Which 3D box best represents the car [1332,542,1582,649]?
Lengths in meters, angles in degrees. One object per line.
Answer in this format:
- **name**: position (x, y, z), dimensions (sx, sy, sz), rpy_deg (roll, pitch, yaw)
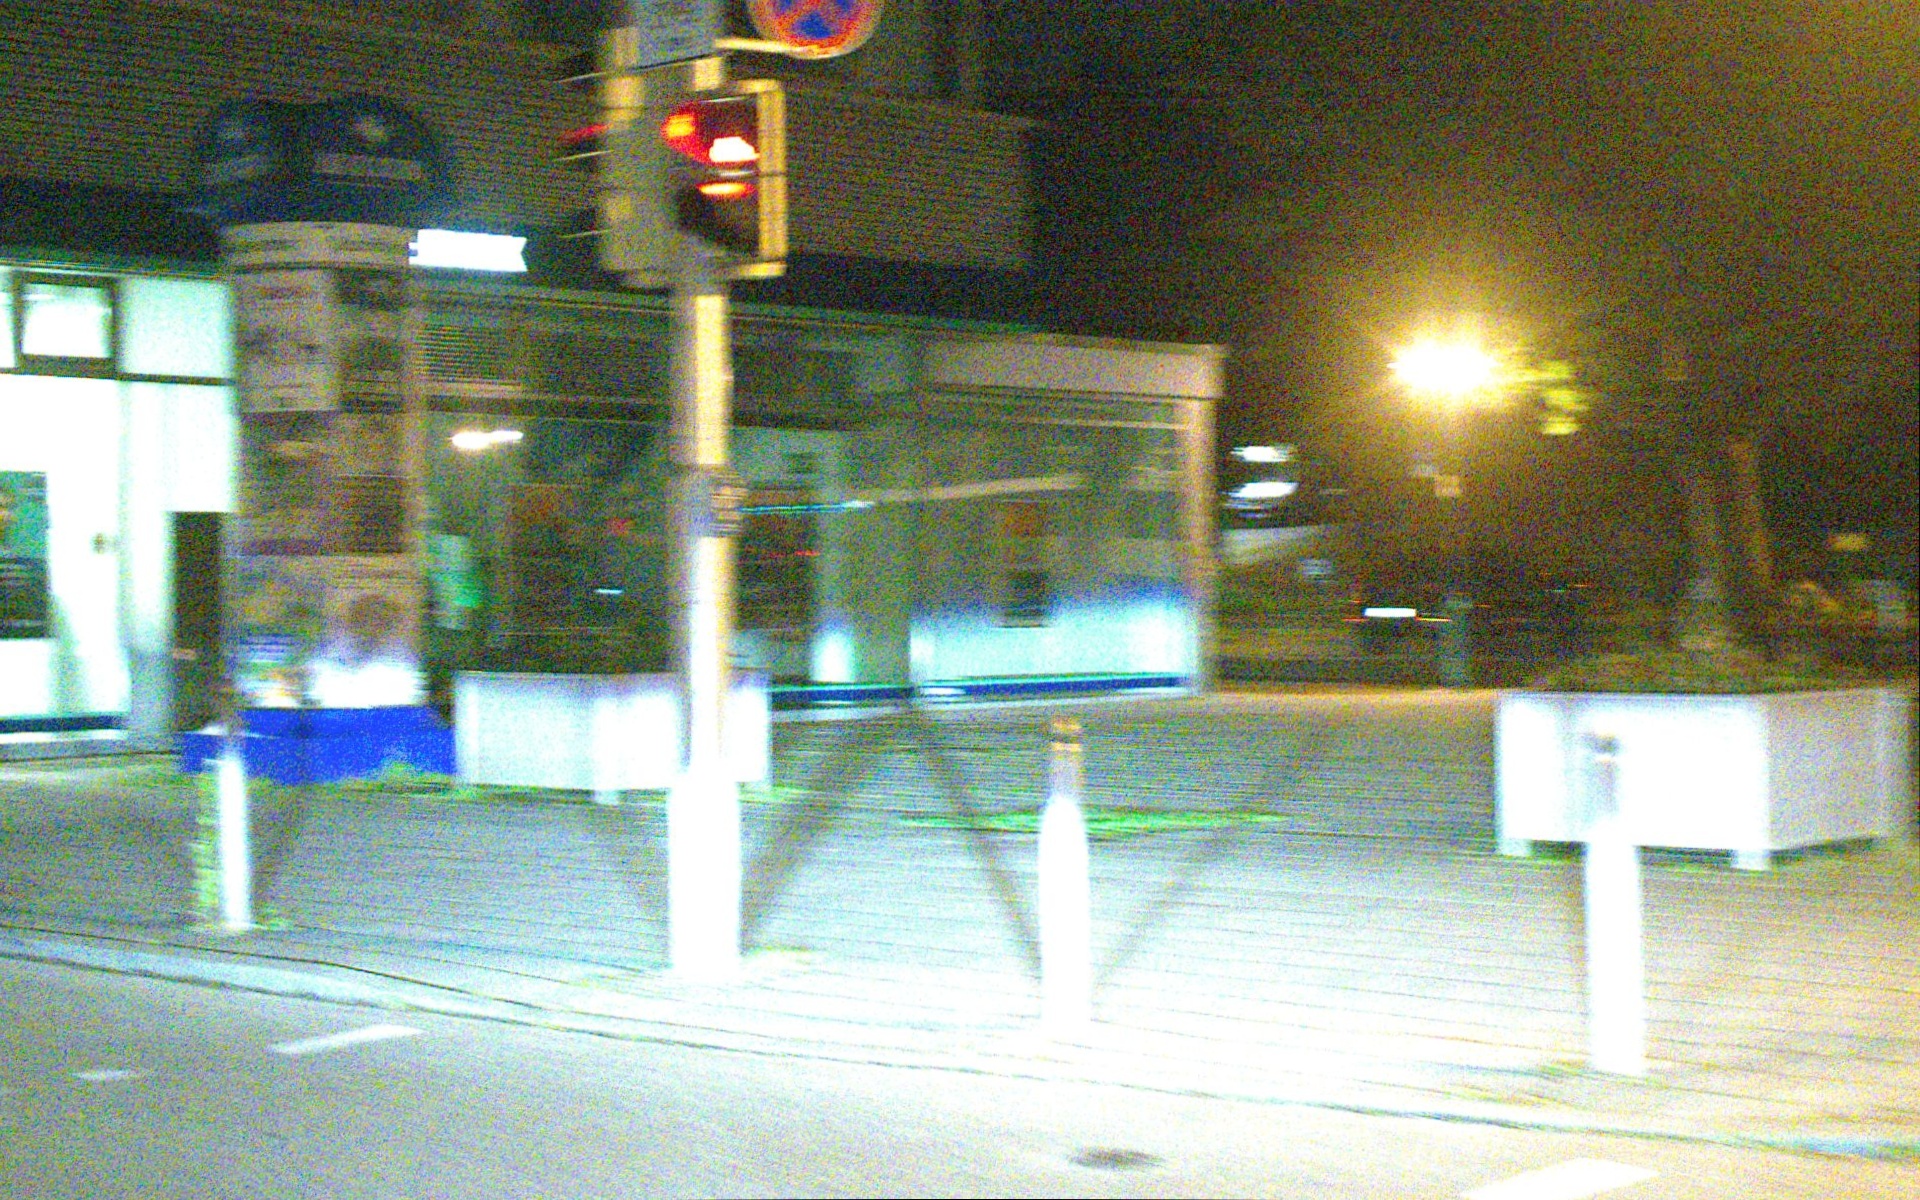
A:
- **car**: position (7.423, -0.093, 51.115), dimensions (1.922, 1.446, 3.991), rpy_deg (1, 2, 39)
